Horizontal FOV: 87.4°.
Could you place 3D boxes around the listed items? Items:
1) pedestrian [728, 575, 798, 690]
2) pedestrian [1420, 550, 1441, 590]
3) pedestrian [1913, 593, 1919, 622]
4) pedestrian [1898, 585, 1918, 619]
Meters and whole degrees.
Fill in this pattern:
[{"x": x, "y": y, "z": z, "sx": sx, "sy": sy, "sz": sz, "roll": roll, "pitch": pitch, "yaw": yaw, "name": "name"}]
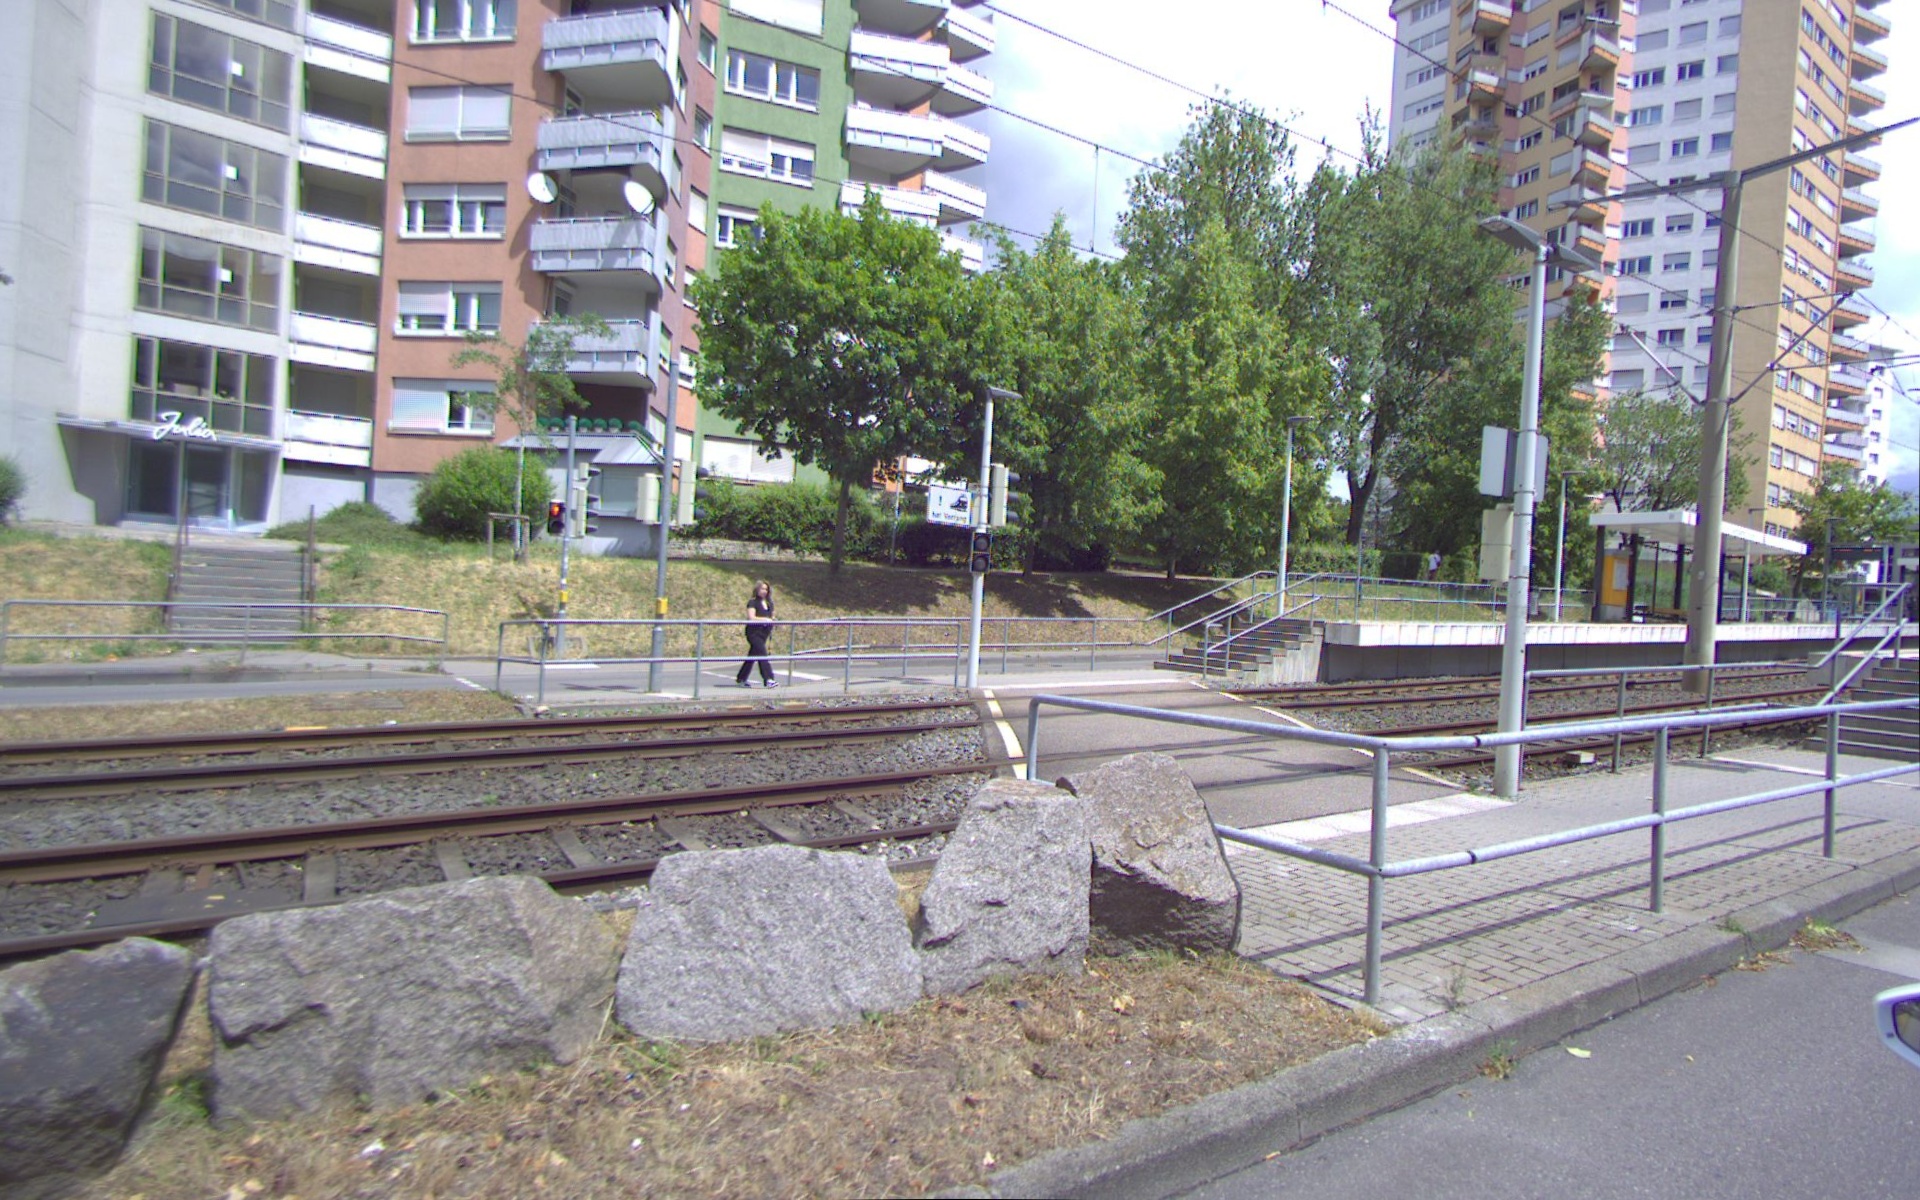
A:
[{"x": -2.809, "y": 0.457, "z": 14.299, "sx": 0.684, "sy": 1.584, "sz": 0.816, "roll": -1, "pitch": -1, "yaw": -34, "name": "pedestrian"}, {"x": 20.756, "y": -1.327, "z": 44.349, "sx": 0.499, "sy": 1.735, "sz": 0.645, "roll": 1, "pitch": 0, "yaw": -36, "name": "pedestrian"}, {"x": 47.503, "y": 0.393, "z": 49.647, "sx": 0.536, "sy": 1.397, "sz": 0.518, "roll": 2, "pitch": -2, "yaw": 45, "name": "pedestrian"}, {"x": 46.784, "y": 0.089, "z": 49.587, "sx": 0.511, "sy": 1.666, "sz": 0.564, "roll": 1, "pitch": 0, "yaw": 21, "name": "pedestrian"}]
